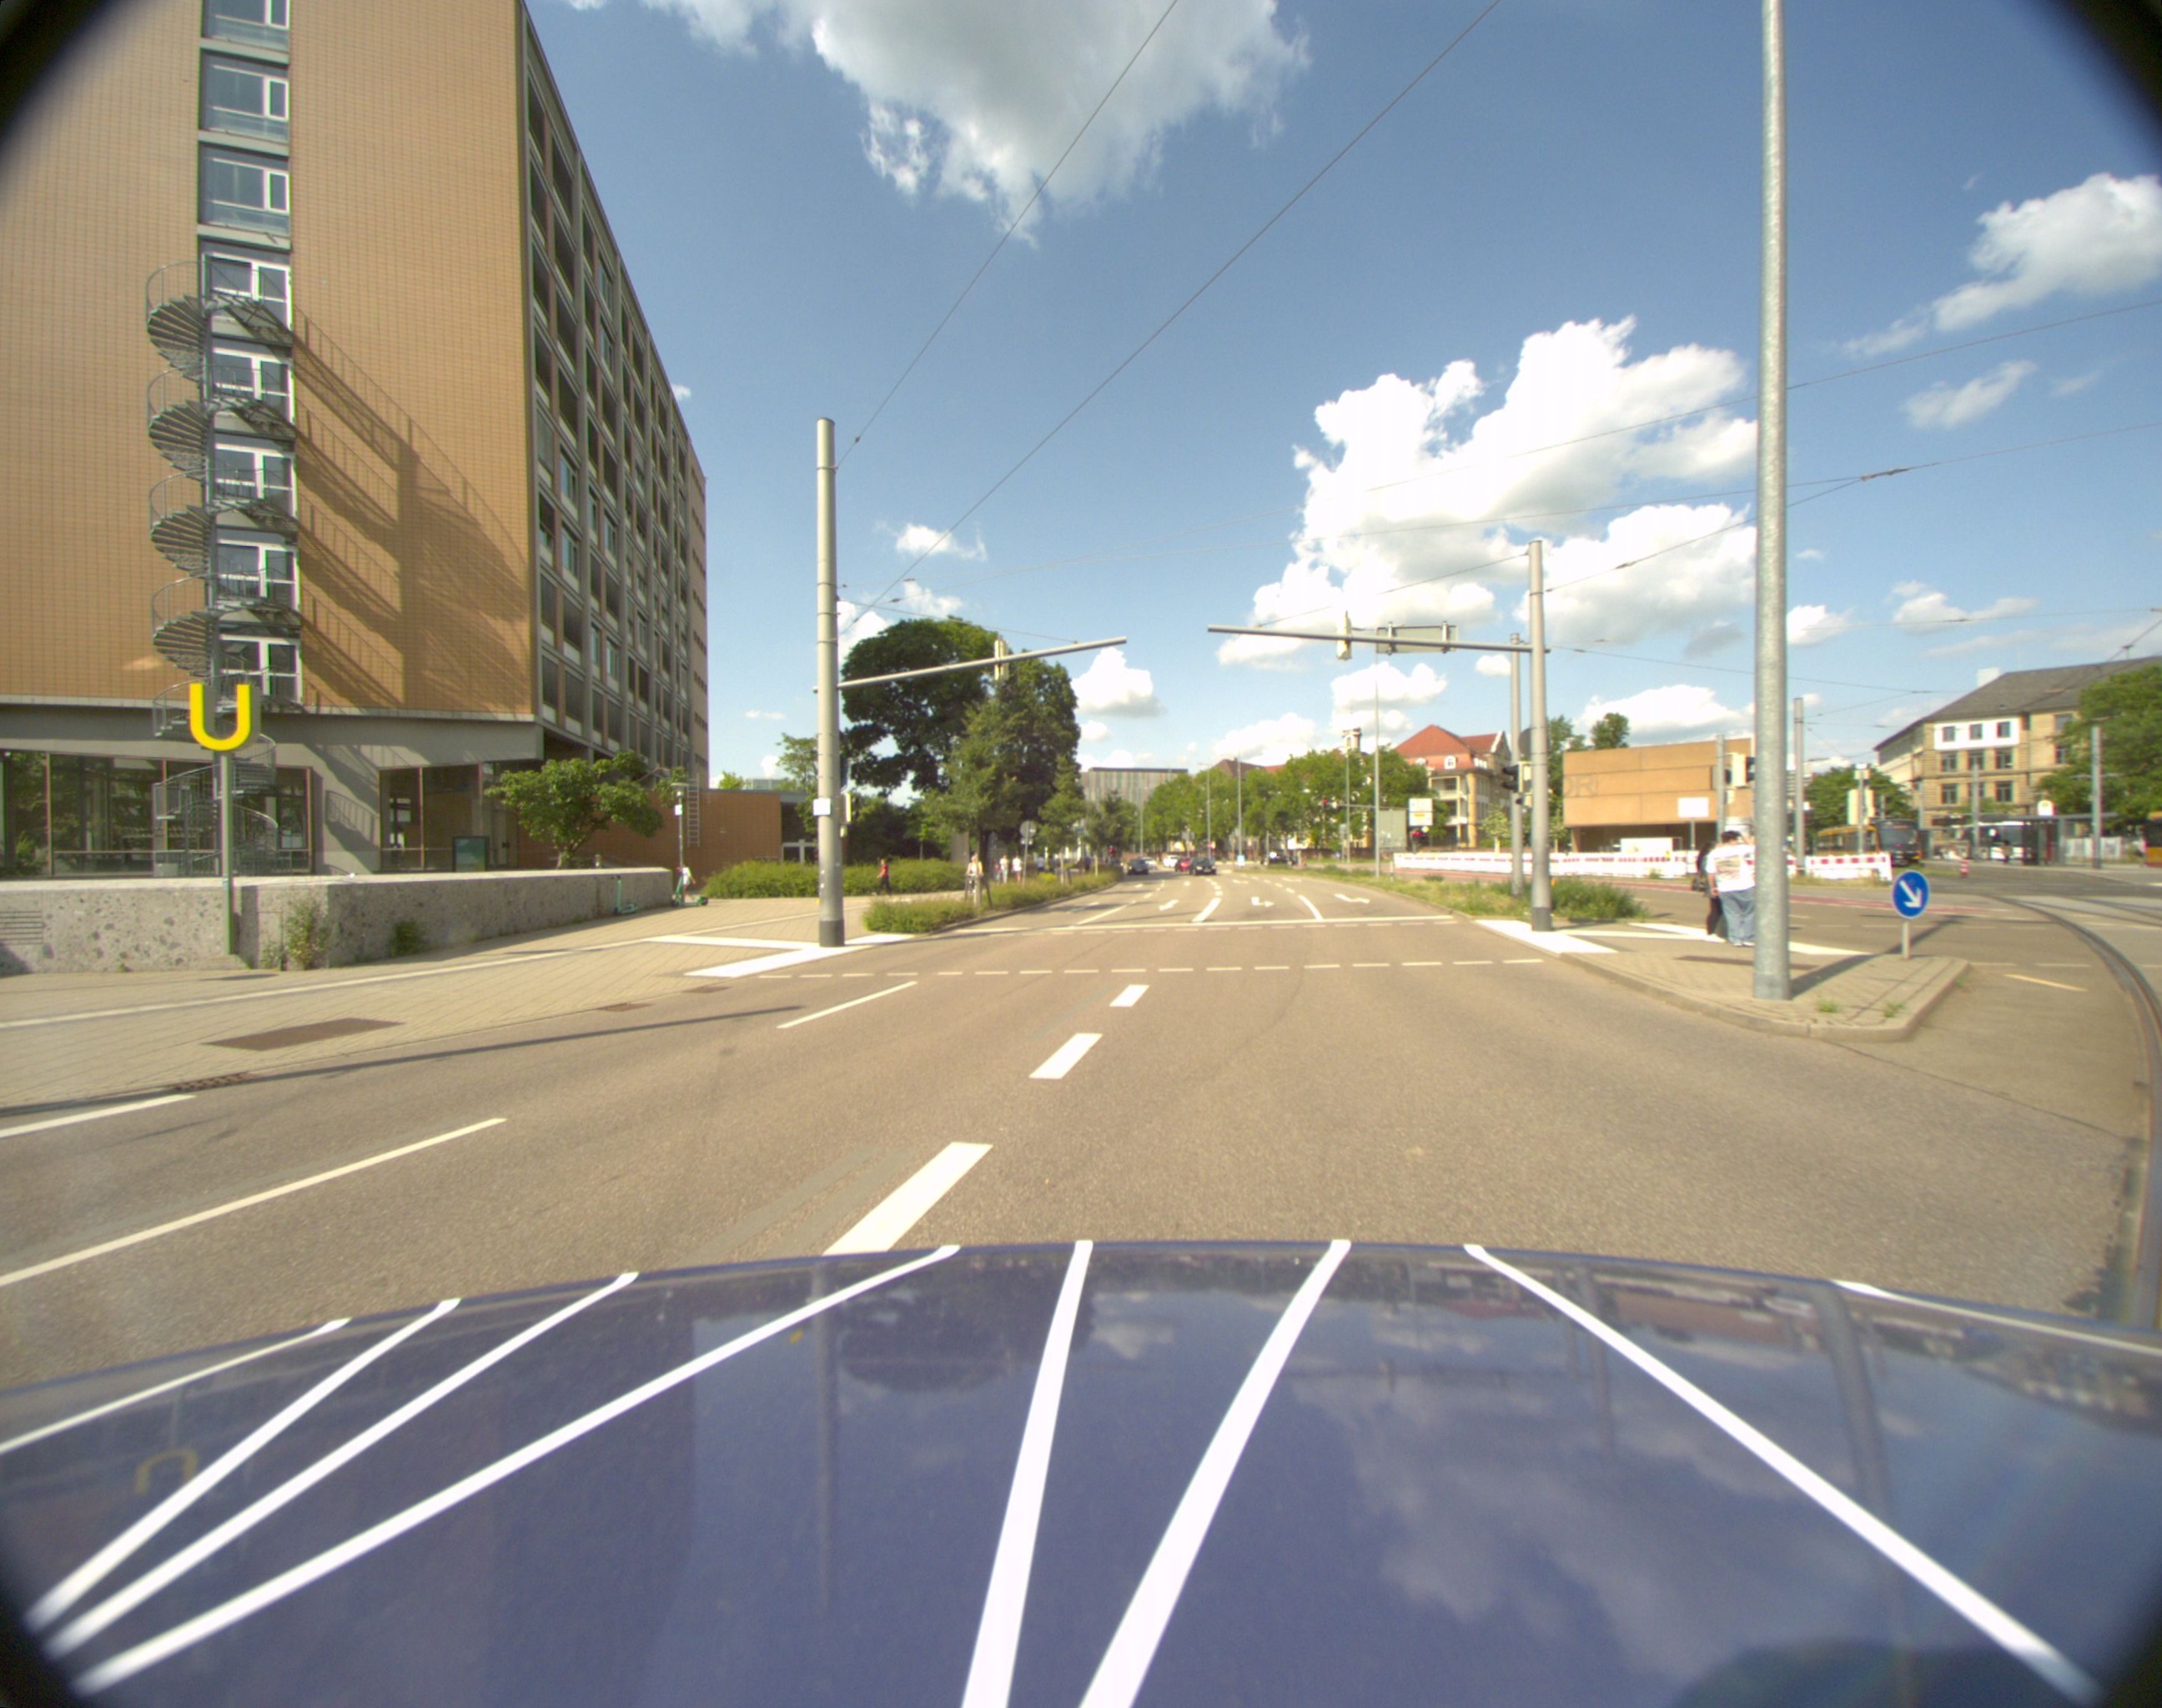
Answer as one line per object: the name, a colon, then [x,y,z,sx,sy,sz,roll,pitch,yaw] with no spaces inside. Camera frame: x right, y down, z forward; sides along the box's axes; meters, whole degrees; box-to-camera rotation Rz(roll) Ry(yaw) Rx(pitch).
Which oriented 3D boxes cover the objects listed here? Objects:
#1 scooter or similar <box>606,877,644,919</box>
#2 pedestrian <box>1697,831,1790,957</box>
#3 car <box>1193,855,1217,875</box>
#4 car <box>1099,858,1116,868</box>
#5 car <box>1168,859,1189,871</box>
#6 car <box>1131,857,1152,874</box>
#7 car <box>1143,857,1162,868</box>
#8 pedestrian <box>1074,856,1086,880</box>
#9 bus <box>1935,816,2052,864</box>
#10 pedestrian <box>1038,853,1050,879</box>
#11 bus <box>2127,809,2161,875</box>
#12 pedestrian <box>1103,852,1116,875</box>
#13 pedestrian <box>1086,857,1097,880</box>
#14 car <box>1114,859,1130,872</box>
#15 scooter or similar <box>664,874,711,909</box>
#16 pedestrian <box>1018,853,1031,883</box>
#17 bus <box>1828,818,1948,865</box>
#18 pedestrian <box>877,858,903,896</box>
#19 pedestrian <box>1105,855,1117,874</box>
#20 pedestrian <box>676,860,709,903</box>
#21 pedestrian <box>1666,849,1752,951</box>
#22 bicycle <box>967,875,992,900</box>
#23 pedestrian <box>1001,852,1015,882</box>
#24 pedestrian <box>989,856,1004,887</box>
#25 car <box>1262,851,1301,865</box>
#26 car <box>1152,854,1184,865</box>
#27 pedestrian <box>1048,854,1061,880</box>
scooter or similar: [-13.118,1.247,21.882,0.466,1.111,1.445,0,0,-11]
pedestrian: [10.312,0.610,11.859,0.849,1.906,0.693,0,1,8]
car: [9.846,0.845,60.155,1.824,1.454,4.003,-2,0,10]
car: [3.874,1.349,113.196,1.909,1.427,4.100,-2,0,-6]
car: [9.279,1.020,72.537,1.597,1.127,3.629,-2,0,1]
car: [5.450,0.993,68.375,1.825,1.454,4.001,-2,0,5]
car: [8.276,0.977,88.528,1.908,1.127,4.102,-2,0,1]
pedestrian: [-0.070,1.067,58.069,0.768,1.725,0.719,-3,1,0]
bus: [77.412,-1.056,64.962,3.598,3.610,18.912,-1,0,42]
pedestrian: [-2.544,0.840,52.286,0.744,1.736,0.890,1,1,3]
bus: [50.472,-0.546,32.972,2.826,3.118,12.867,-1,0,39]
pedestrian: [2.508,0.832,66.066,0.964,2.002,0.768,-3,1,6]
pedestrian: [0.779,1.085,58.765,0.768,1.725,0.719,-3,1,0]
car: [4.995,1.412,91.792,1.825,1.454,4.001,-2,0,4]
scooter or similar: [-13.022,1.234,25.155,1.321,1.097,0.465,0,0,-37]
pedestrian: [-3.281,0.819,44.104,0.615,1.690,0.890,1,1,3]
bus: [64.864,-0.922,61.841,3.466,3.165,23.828,-1,0,39]
pedestrian: [-8.262,0.971,32.912,0.891,1.613,0.614,0,2,-37]
pedestrian: [2.702,0.947,68.652,0.927,1.725,0.768,-3,1,6]
pedestrian: [-14.759,1.034,28.905,1.098,1.613,0.614,1,2,-26]
pedestrian: [10.353,0.738,12.551,0.849,1.638,0.693,0,1,8]
bicycle: [-4.003,1.304,30.076,0.648,0.876,1.822,-3,0,1]
pedestrian: [-4.220,0.755,44.071,0.615,1.690,0.890,1,1,3]
pedestrian: [-4.507,0.917,40.521,0.615,1.613,0.890,1,1,3]
car: [21.746,0.452,82.333,3.780,1.327,1.736,-2,1,23]
car: [10.832,0.685,95.036,1.782,1.346,3.990,-3,1,-32]
pedestrian: [-1.803,0.865,52.121,0.744,1.744,0.889,1,1,3]
